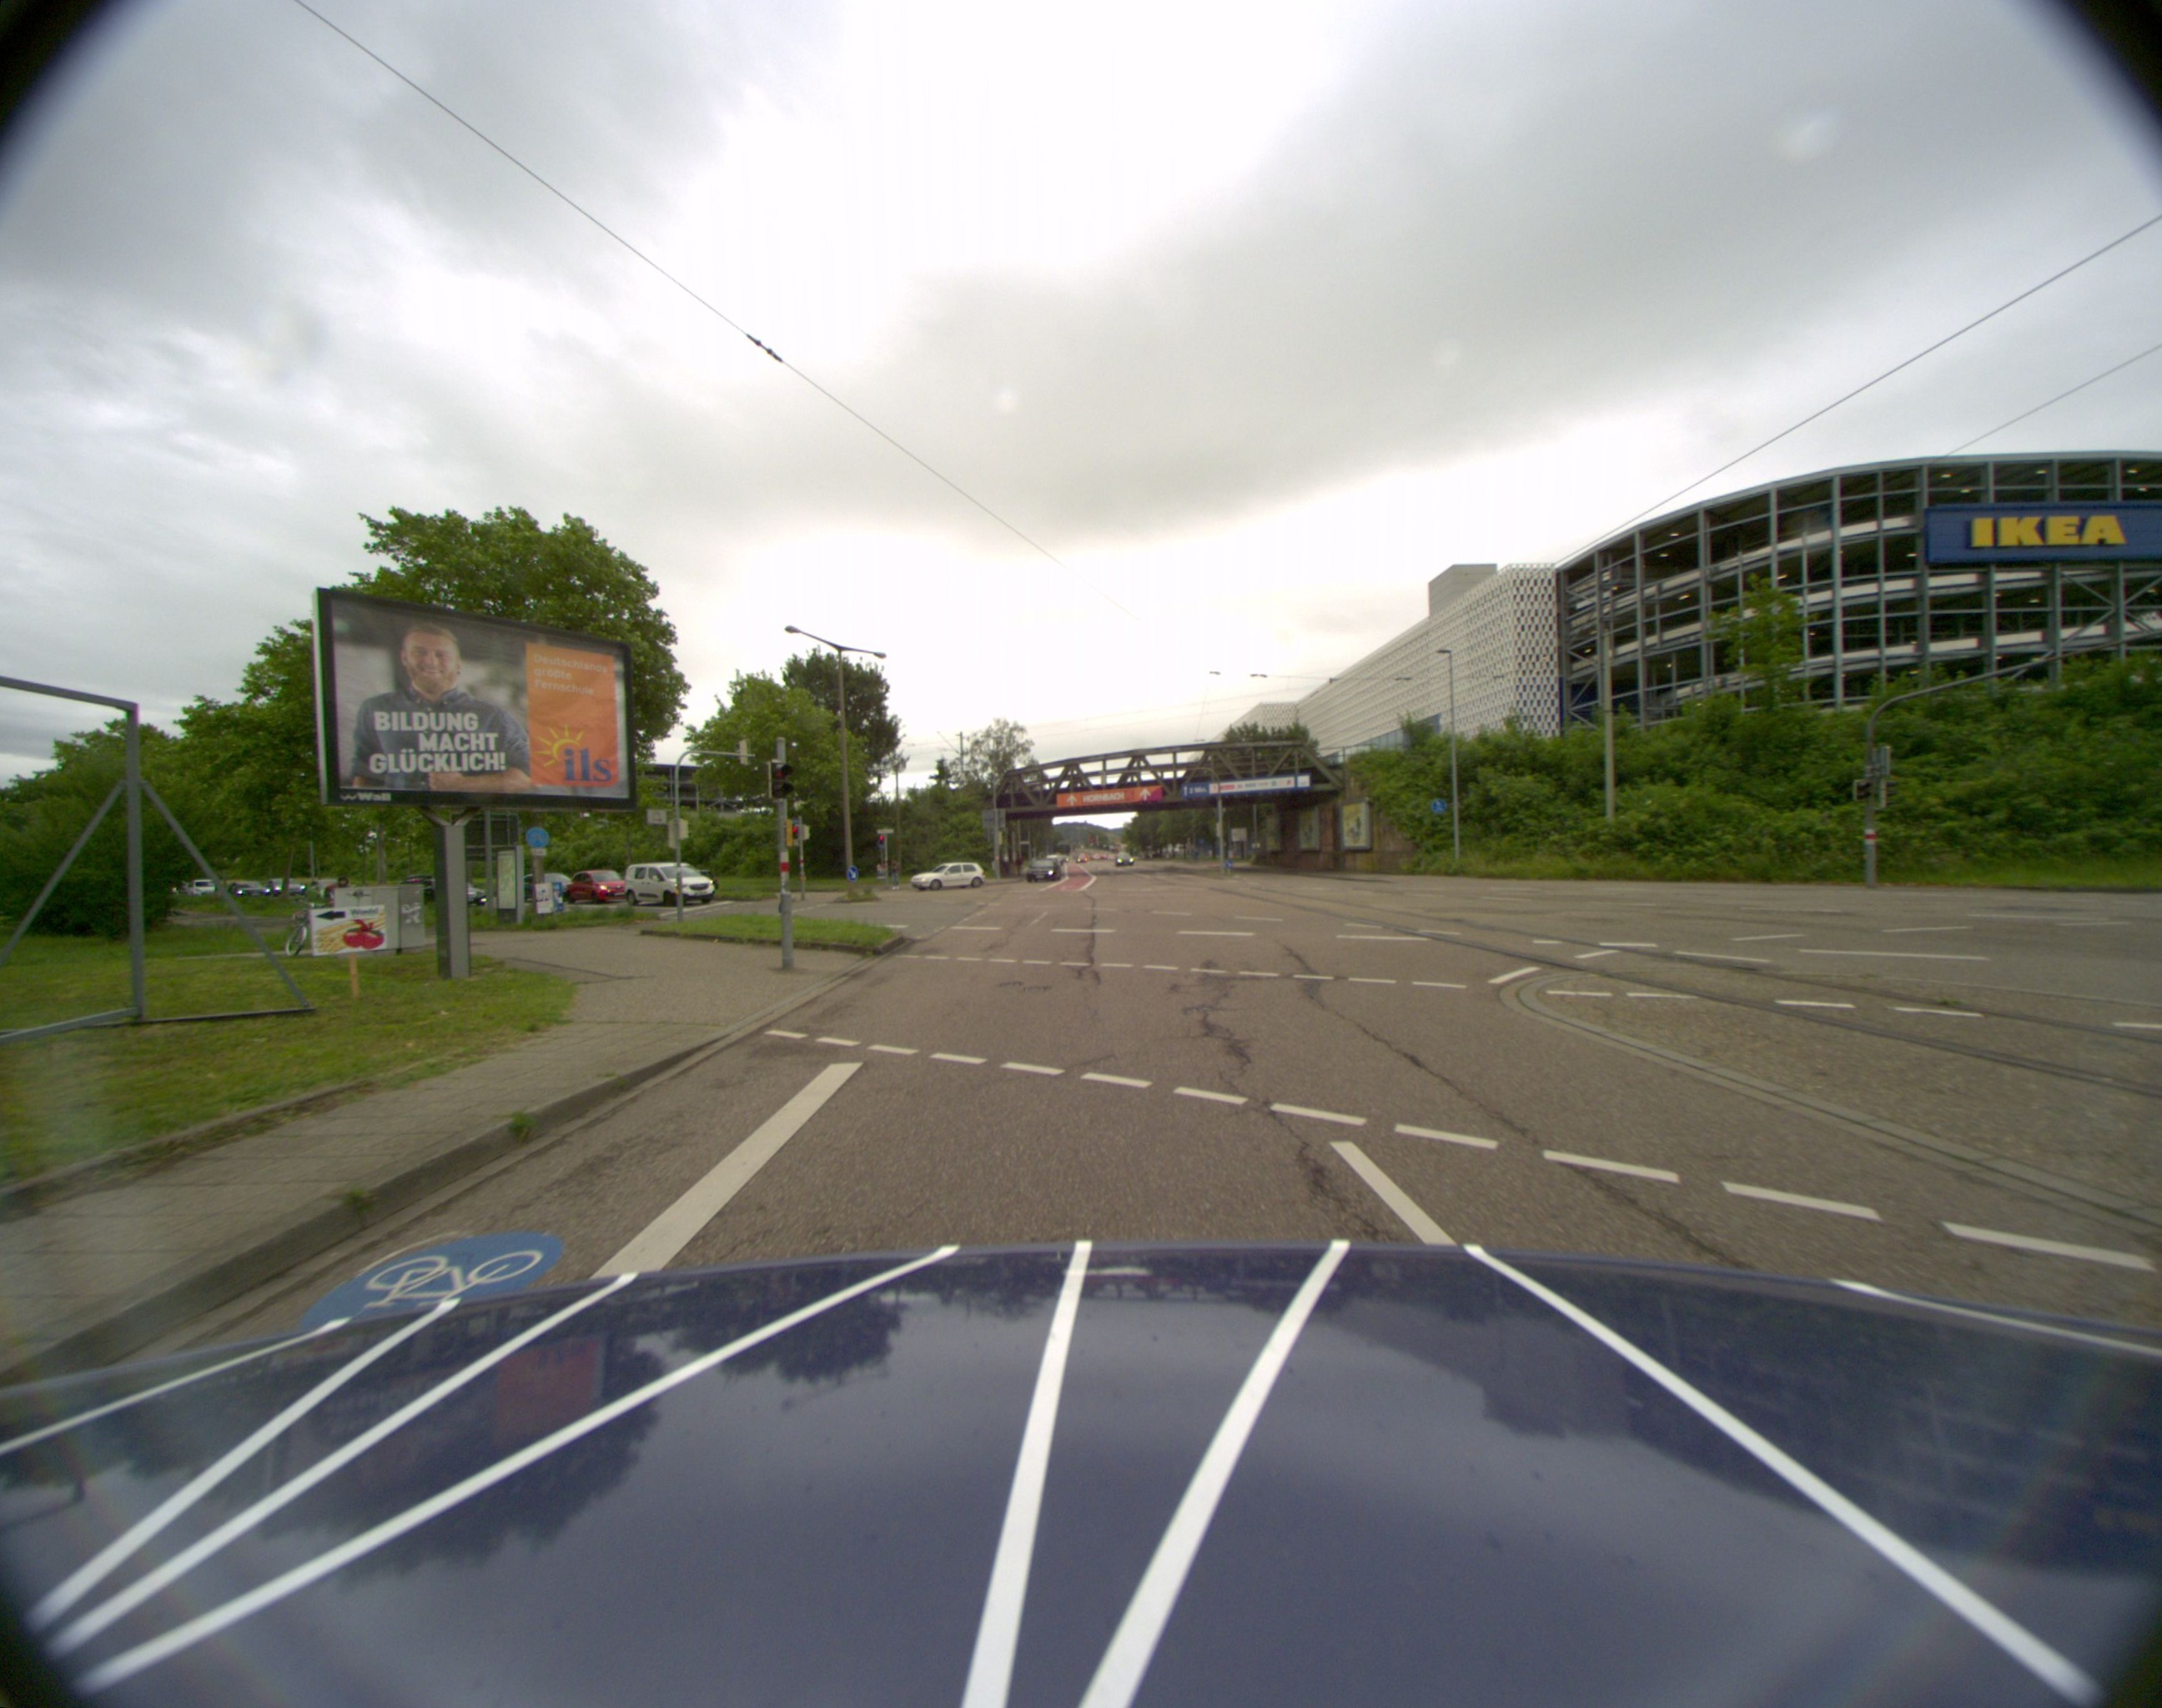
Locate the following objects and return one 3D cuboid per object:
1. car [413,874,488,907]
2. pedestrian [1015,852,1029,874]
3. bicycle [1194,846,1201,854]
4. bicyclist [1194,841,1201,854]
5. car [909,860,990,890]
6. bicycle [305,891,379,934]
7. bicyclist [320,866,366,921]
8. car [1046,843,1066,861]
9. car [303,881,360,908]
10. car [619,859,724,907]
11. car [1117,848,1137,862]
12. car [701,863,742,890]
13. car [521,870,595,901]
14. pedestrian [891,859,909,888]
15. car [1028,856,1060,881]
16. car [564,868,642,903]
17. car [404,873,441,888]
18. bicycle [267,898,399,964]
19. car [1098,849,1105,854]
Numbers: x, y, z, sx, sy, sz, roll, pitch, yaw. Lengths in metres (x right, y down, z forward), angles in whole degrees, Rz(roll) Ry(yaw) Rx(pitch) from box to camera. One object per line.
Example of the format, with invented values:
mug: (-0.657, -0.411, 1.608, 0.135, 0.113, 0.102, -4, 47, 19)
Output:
car: (-31.427, 1.791, 37.841, 4.055, 1.473, 1.699, -1, 1, 33)
pedestrian: (-4.954, 0.762, 63.865, 0.785, 1.749, 0.876, -1, 1, 37)
bicycle: (17.273, -0.639, 112.684, 0.715, 1.180, 2.370, -4, 1, -1)
bicyclist: (17.251, -0.969, 112.722, 0.703, 1.864, 1.019, -4, 2, -1)
car: (-7.213, 1.139, 41.880, 3.947, 1.416, 1.723, -3, 0, -37)
bicycle: (-20.906, 1.656, 21.494, 1.891, 1.142, 0.583, -1, 1, 15)
bicyclist: (-20.834, 1.100, 21.445, 0.758, 1.511, 0.583, -1, 1, 15)
car: (-2.852, -0.218, 84.575, 1.995, 1.838, 4.102, -2, 0, -4)
car: (-47.824, 2.570, 48.475, 3.989, 1.524, 1.788, -3, 2, 35)
car: (-17.457, 1.219, 32.380, 4.409, 1.818, 1.883, -1, 3, 32)
car: (5.077, 0.126, 84.909, 1.837, 1.416, 3.999, -3, 0, -1)
car: (-21.808, 1.323, 46.002, 1.687, 1.423, 3.765, -5, 2, -32)
car: (-27.162, 1.596, 39.431, 4.055, 1.473, 1.699, -1, 1, 33)
pedestrian: (-10.456, 1.141, 43.952, 0.743, 1.630, 0.778, -2, 1, 1)
car: (-2.316, 0.889, 48.711, 1.837, 1.416, 3.999, -3, 0, -1)
car: (-22.698, 1.454, 36.029, 3.678, 1.523, 1.699, -1, 1, 33)
car: (-60.778, 2.447, 70.109, 3.410, 1.273, 1.655, -3, 0, 33)
bicycle: (-14.855, 1.507, 15.157, 1.810, 1.111, 0.487, -2, 1, -39)
car: (6.055, -0.666, 225.393, 1.628, 1.414, 3.611, -1, 0, -2)
